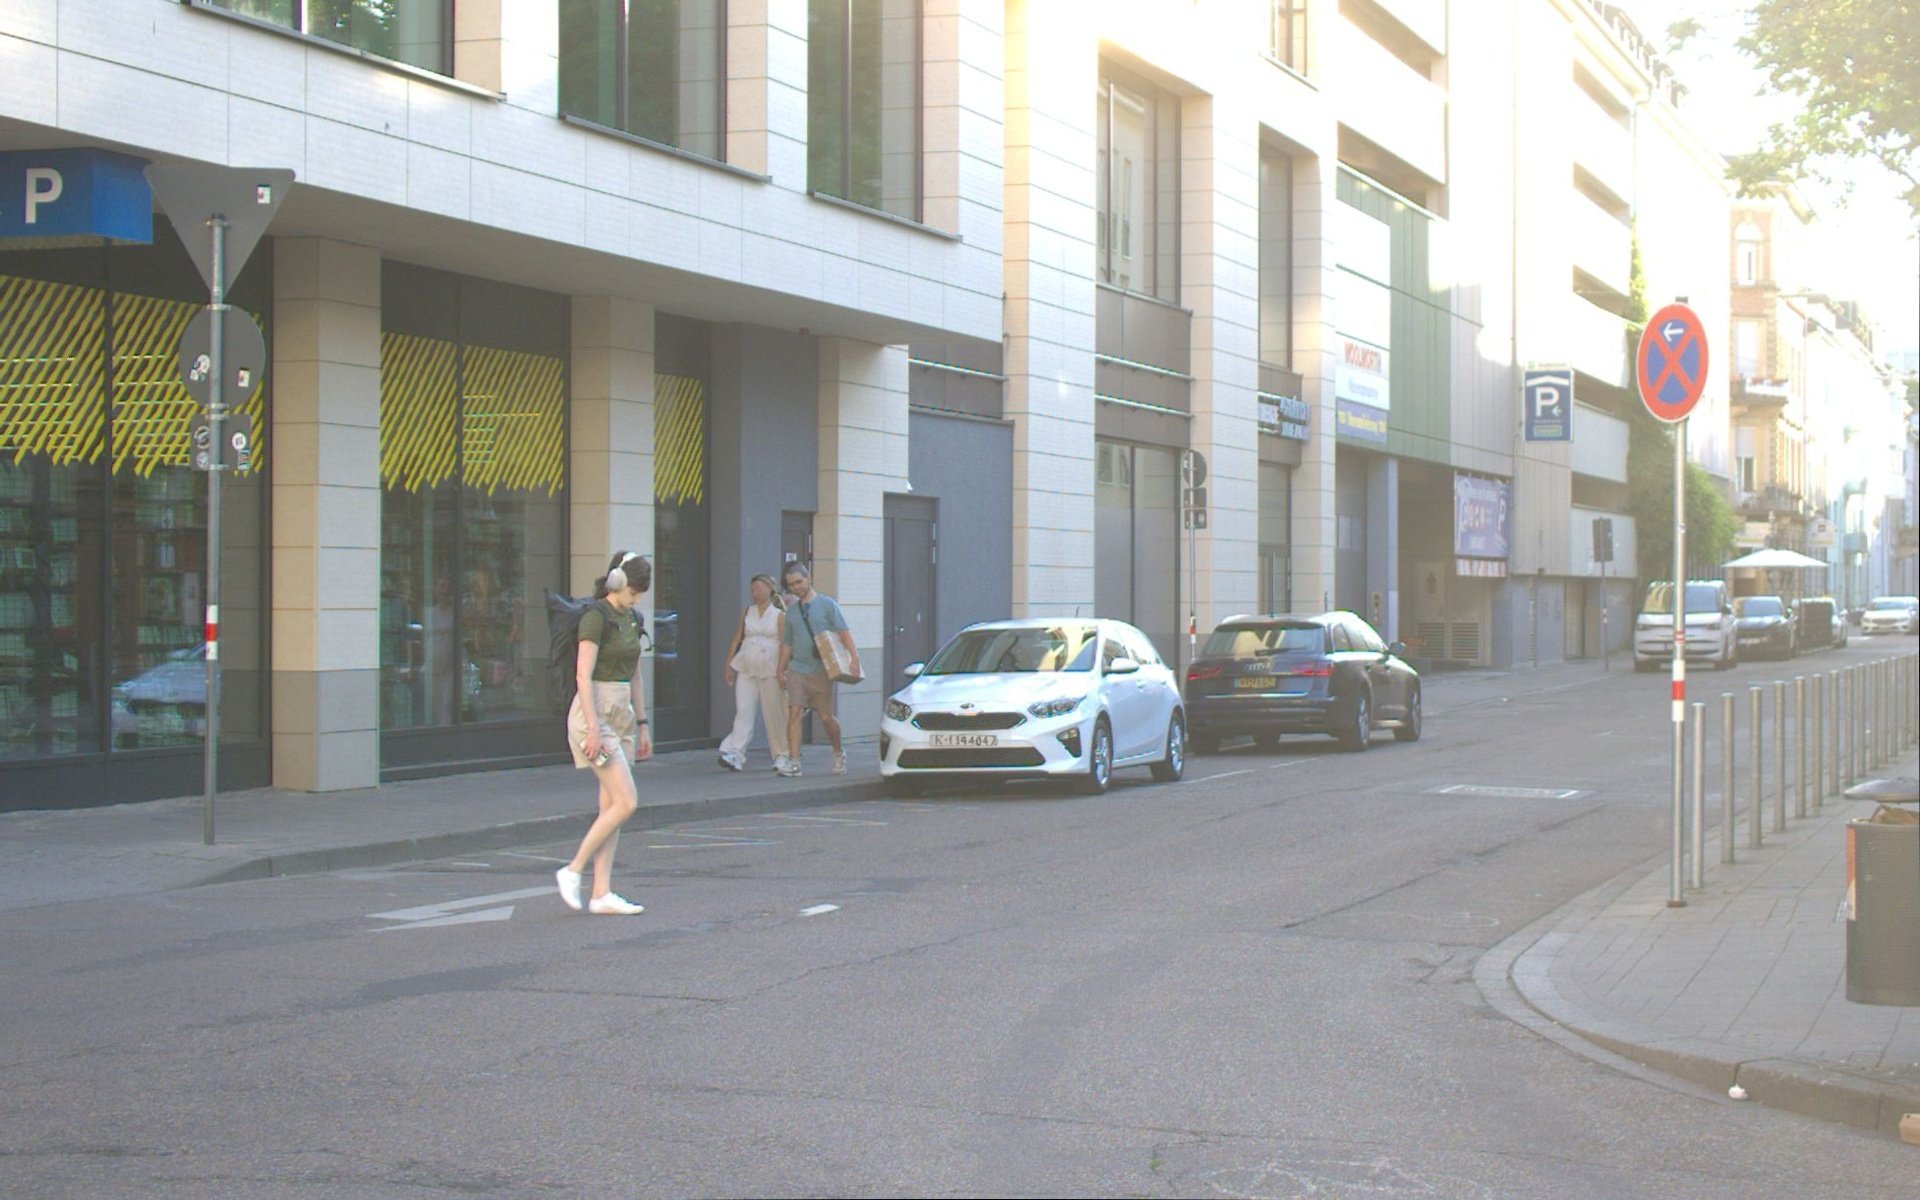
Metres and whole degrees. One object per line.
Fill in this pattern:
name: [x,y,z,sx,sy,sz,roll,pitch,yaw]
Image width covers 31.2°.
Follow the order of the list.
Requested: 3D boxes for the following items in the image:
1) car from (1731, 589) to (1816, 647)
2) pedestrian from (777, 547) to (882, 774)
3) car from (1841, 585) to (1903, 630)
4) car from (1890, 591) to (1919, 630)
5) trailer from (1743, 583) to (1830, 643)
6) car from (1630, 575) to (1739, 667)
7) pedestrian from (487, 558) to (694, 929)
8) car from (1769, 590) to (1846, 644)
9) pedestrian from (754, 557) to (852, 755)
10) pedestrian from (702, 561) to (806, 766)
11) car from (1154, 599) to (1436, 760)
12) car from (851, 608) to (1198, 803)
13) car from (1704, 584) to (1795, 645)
car: [21.067,0.450,88.920,1.885,1.448,3.997,0,0,17]
pedestrian: [-1.063,0.486,28.138,0.672,1.830,0.647,1,0,16]
car: [34.520,0.299,130.041,1.995,1.678,3.996,1,0,19]
car: [42.052,0.495,151.120,1.995,1.678,3.996,1,0,19]
trailer: [22.347,0.365,92.877,1.995,1.552,3.996,1,0,17]
car: [15.515,0.421,73.491,1.885,1.905,4.744,0,0,17]
pedestrian: [-1.774,0.663,16.457,0.635,1.717,0.845,0,0,-37]
car: [23.960,0.463,97.167,1.885,1.448,3.997,0,0,17]
pedestrian: [-1.397,0.494,30.651,0.672,1.738,0.647,0,0,19]
pedestrian: [-1.702,0.514,28.458,0.672,1.669,0.647,1,0,16]
car: [3.700,0.805,37.172,1.885,1.592,4.684,0,0,21]
car: [0.626,0.815,28.537,1.779,1.448,4.227,0,0,17]
car: [19.380,0.333,84.286,1.885,1.448,3.997,0,0,17]
